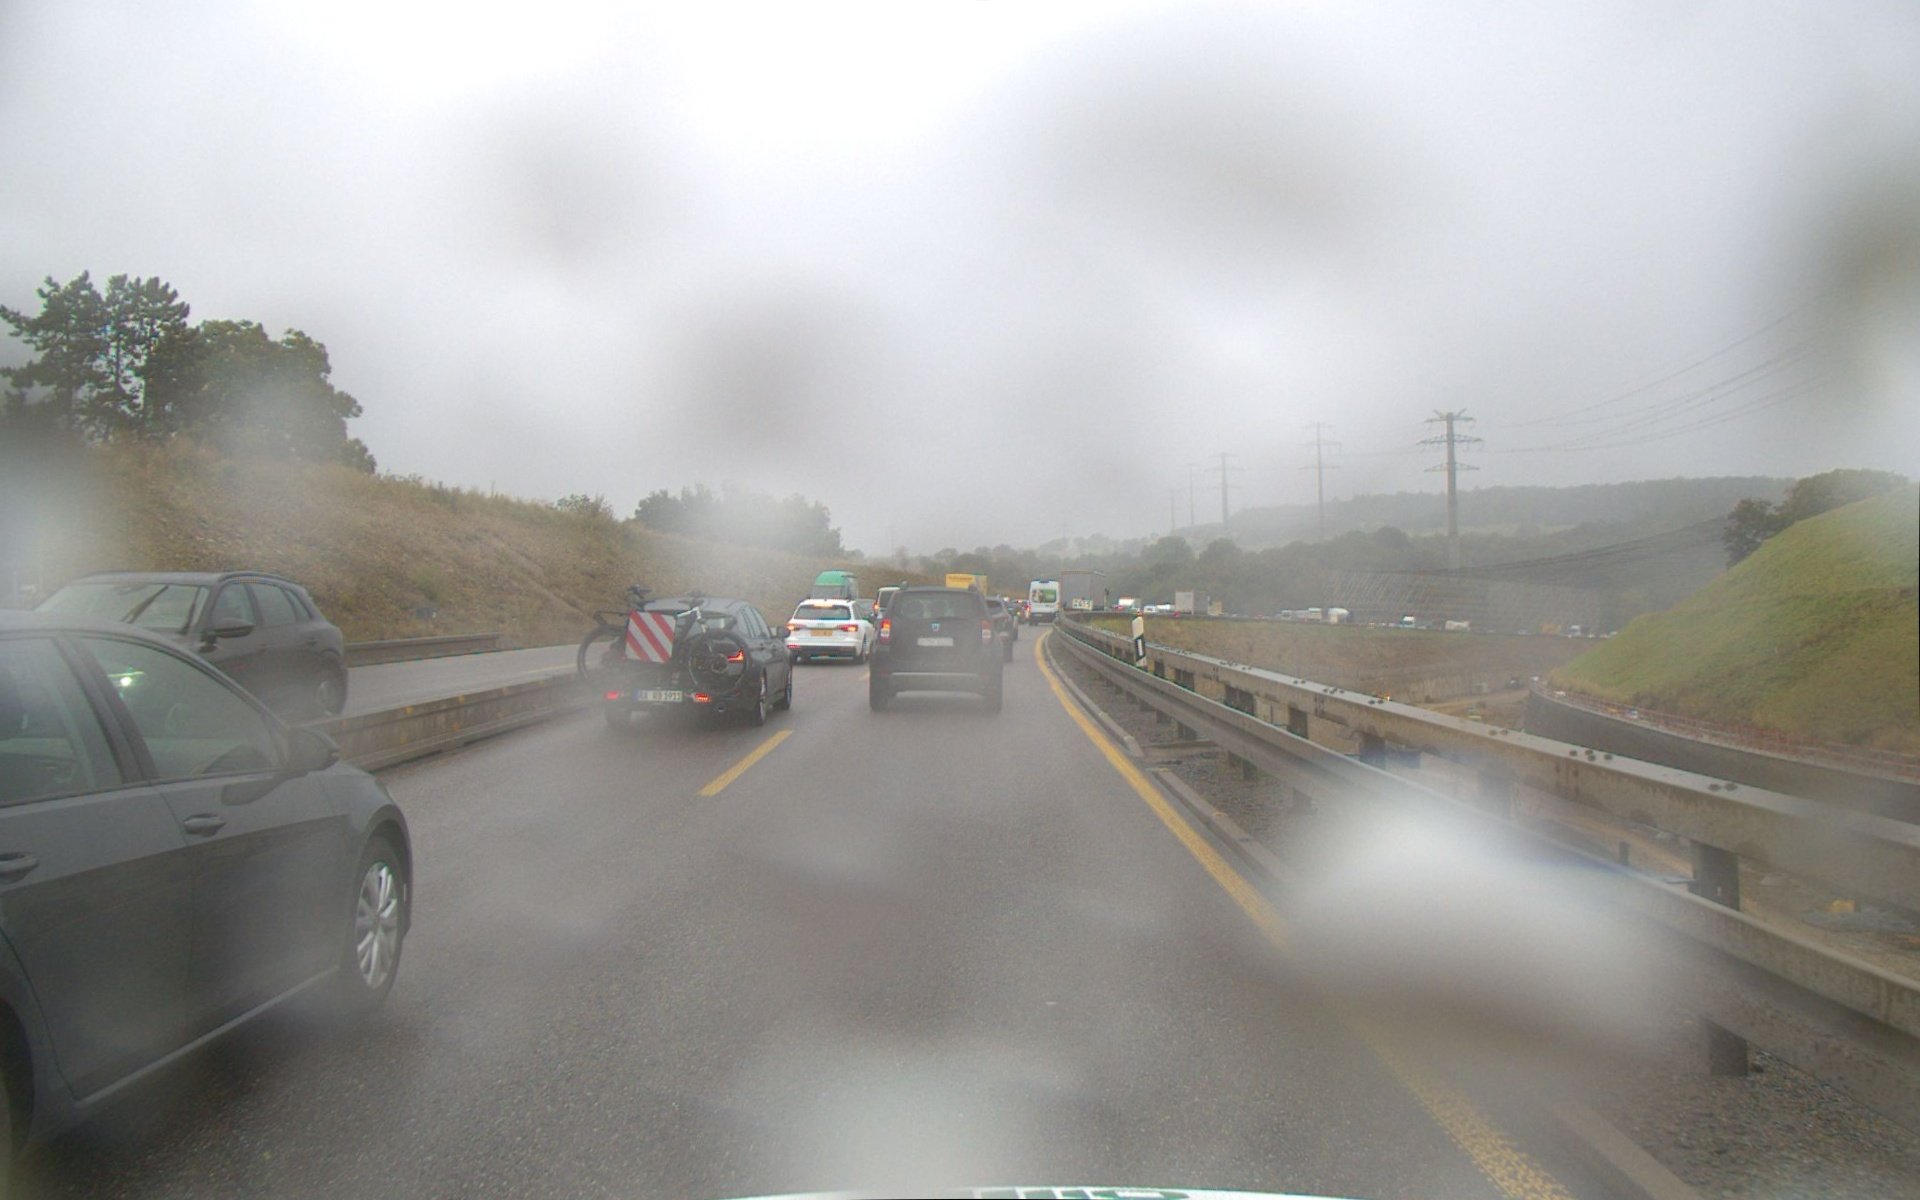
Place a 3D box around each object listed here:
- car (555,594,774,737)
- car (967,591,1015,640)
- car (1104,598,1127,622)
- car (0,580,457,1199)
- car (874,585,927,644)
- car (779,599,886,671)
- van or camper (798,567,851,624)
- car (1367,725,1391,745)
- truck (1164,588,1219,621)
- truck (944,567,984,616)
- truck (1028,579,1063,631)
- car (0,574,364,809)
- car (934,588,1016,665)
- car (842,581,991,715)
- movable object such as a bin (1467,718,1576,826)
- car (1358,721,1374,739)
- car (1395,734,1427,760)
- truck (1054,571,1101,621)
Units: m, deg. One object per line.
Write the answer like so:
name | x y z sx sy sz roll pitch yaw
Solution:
car | -3.354 0.701 19.485 1.791 1.502 3.777 1 0 2
car | 1.110 0.549 60.401 1.500 1.669 4.011 2 0 -2
car | 13.317 0.850 141.392 1.737 1.949 4.003 2 0 7
car | -2.738 0.739 4.301 1.581 1.532 4.367 -1 0 -1
car | -2.027 0.491 57.325 1.626 1.913 4.020 2 0 0
car | -2.842 0.751 37.754 1.828 1.486 4.550 2 0 3
van or camper | -7.112 -0.234 87.509 2.057 2.867 5.944 2 0 1
car | 45.855 14.796 181.031 1.951 1.847 4.003 1 0 6
truck | 32.074 0.683 228.673 4.619 4.222 15.688 2 0 19
truck | 0.435 -0.710 142.011 2.710 4.066 8.427 1 0 5
truck | 5.552 0.318 107.014 2.104 3.221 6.462 2 0 3
car | -6.769 0.643 13.943 1.774 1.621 4.900 -1 0 -1
car | 0.414 0.615 40.249 1.829 1.738 4.001 1 0 2
car | -0.515 0.614 22.784 1.767 1.674 3.777 1 0 3
movable object such as a bin | 23.833 7.248 70.441 3.148 3.934 4.123 3 1 2
car | 55.643 17.836 226.558 1.951 2.049 4.002 2 0 17
car | 44.519 14.503 163.291 2.315 2.049 4.002 2 0 4
truck | 9.596 -0.294 134.184 3.132 3.827 8.516 2 0 8
